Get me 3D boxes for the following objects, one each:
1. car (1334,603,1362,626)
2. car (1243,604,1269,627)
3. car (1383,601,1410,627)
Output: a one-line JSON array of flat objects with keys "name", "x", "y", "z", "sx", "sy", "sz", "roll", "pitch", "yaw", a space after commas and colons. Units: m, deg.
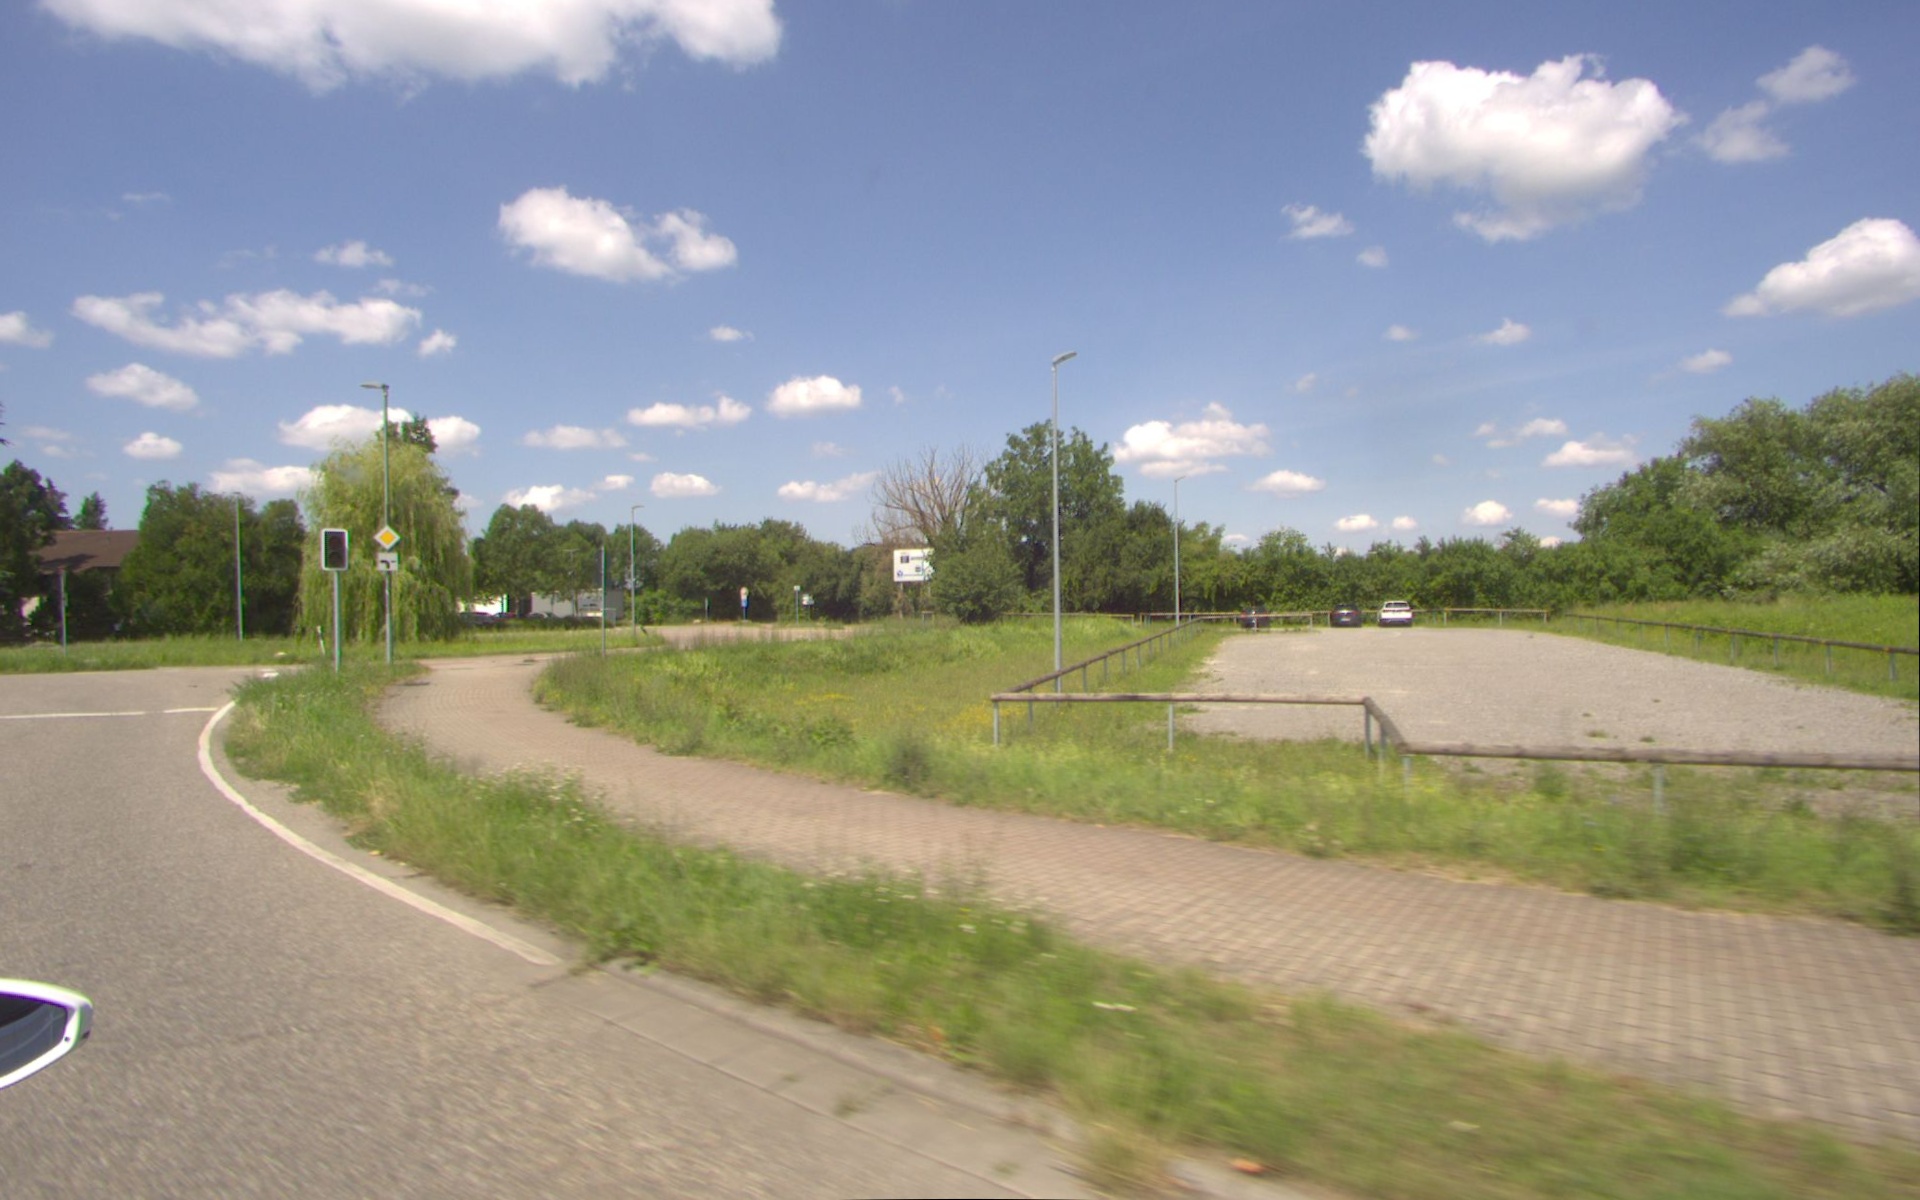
[{"name": "car", "x": 23.668, "y": 0.909, "z": 61.013, "sx": 1.395, "sy": 1.355, "sz": 3.110, "roll": -1, "pitch": -2, "yaw": 24}, {"name": "car", "x": 18.823, "y": 1.001, "z": 63.642, "sx": 1.394, "sy": 1.355, "sz": 3.112, "roll": -1, "pitch": -2, "yaw": 21}, {"name": "car", "x": 26.215, "y": 0.878, "z": 60.165, "sx": 1.395, "sy": 1.523, "sz": 3.110, "roll": -1, "pitch": -2, "yaw": 24}]
